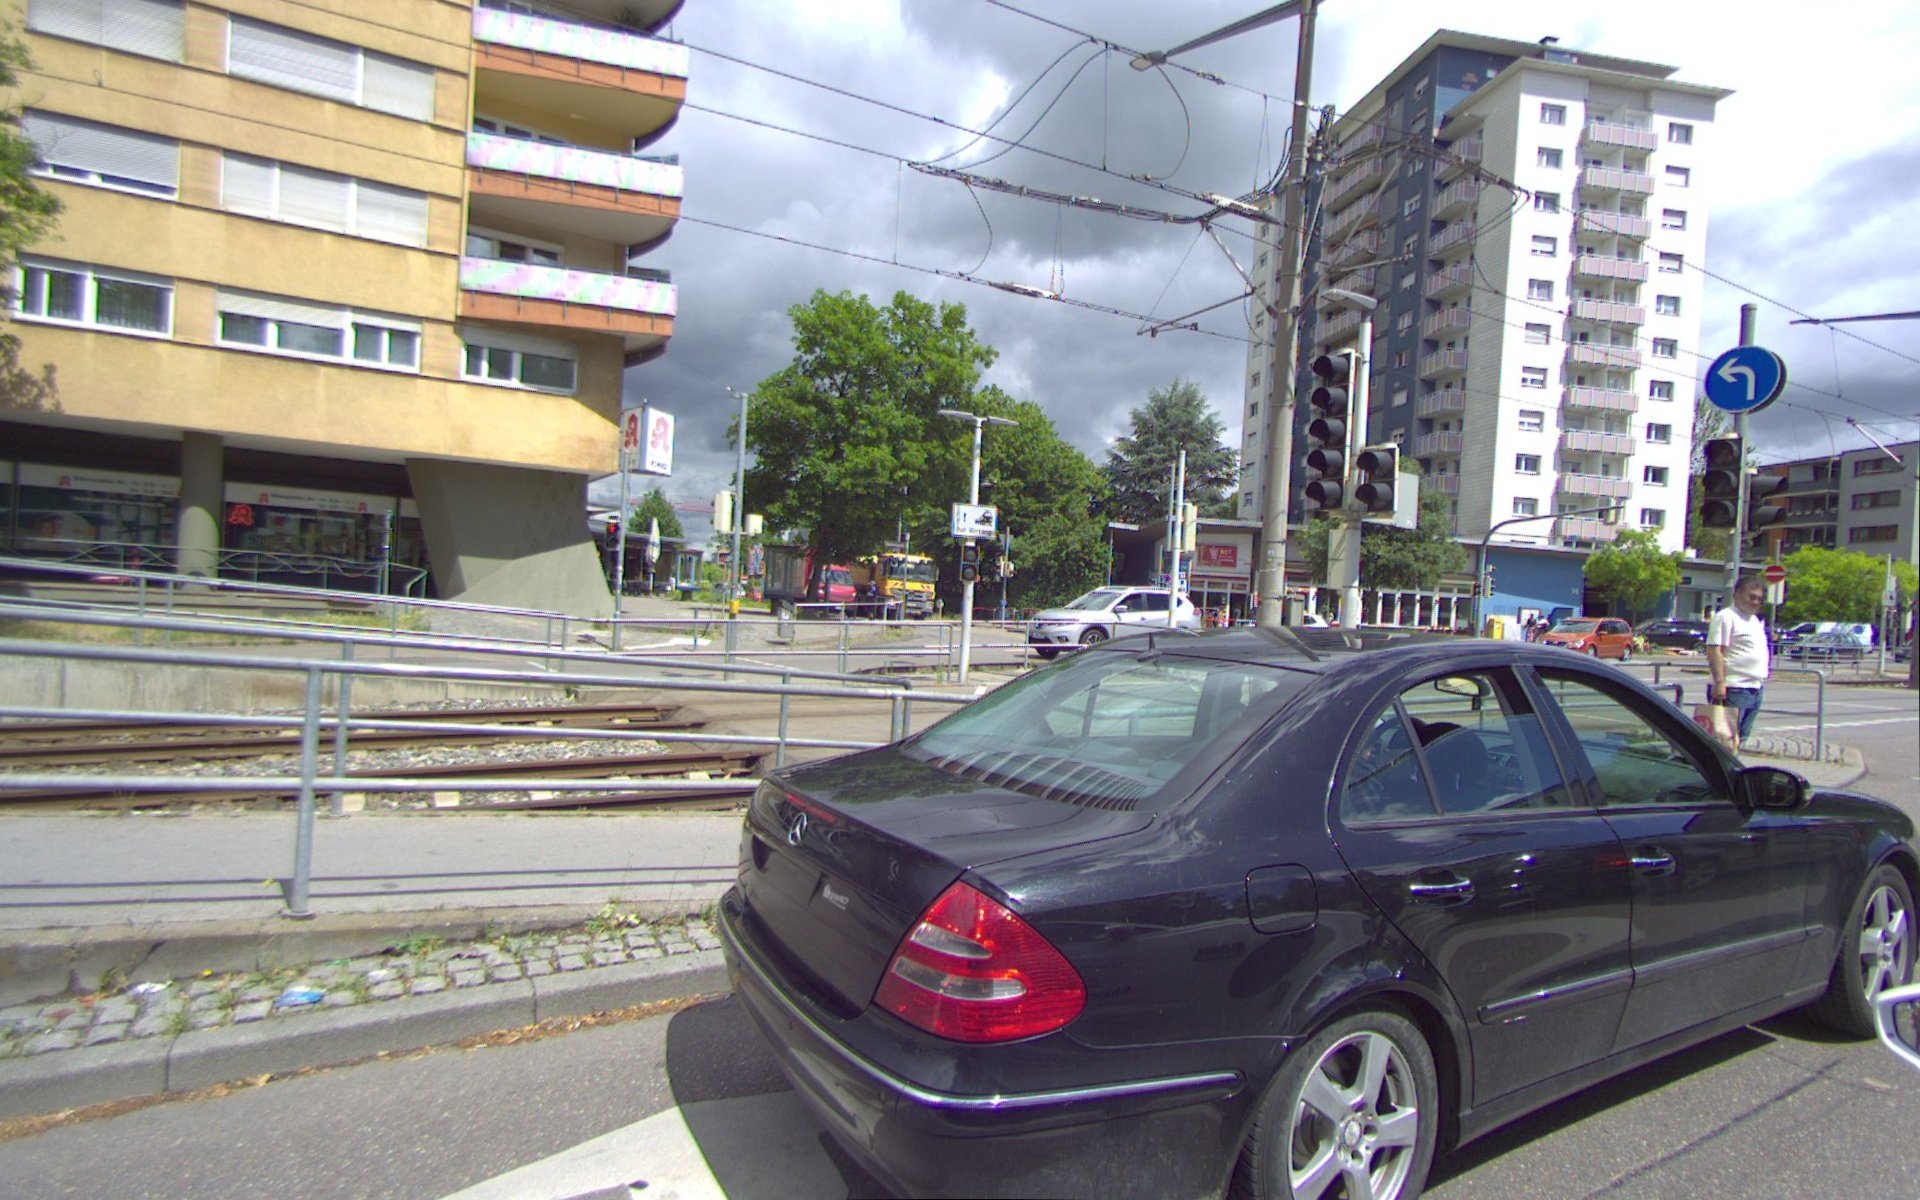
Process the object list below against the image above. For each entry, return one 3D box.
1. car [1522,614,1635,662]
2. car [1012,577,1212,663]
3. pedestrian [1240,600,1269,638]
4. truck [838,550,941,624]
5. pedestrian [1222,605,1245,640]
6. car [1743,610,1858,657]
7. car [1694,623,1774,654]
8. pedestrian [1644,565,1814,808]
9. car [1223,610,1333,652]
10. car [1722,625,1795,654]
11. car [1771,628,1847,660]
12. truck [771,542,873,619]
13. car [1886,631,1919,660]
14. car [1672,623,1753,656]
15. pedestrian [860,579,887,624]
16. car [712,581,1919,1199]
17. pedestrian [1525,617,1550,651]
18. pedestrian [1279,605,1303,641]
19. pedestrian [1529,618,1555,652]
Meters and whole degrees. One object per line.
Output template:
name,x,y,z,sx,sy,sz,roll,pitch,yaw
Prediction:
car,22.980,1.396,37.292,4.415,1.656,1.981,1,-1,-35
car,3.599,0.485,23.519,4.462,1.825,1.982,2,-1,-33
pedestrian,15.477,1.008,52.788,1.200,1.942,0.860,1,1,-30
truck,-3.596,-0.616,49.208,2.733,3.244,7.443,1,0,-23
pedestrian,12.931,1.071,47.478,0.689,1.637,0.765,1,0,-24
car,49.797,1.892,59.767,2.776,2.512,6.724,2,0,17
car,42.822,2.099,55.681,1.921,1.558,4.220,2,0,13
pedestrian,6.209,0.651,8.128,0.734,1.832,0.863,1,1,-33
car,12.204,1.167,38.727,3.920,1.416,1.699,2,0,16
car,45.493,2.241,57.338,1.754,1.439,4.219,2,0,16
car,41.082,2.109,48.600,4.206,1.433,1.620,1,0,-32
truck,-6.868,-0.888,48.752,2.692,3.320,8.877,1,0,-22
car,51.703,2.482,54.035,4.445,1.418,1.625,2,0,-33
car,40.161,2.077,53.723,1.921,1.591,4.220,2,0,13
pedestrian,-3.326,0.048,38.617,0.770,1.638,0.759,-1,5,-29
car,1.599,0.751,3.525,4.490,1.481,1.720,2,0,-30
pedestrian,29.839,1.752,51.942,0.929,1.681,1.099,2,-1,21
pedestrian,15.432,1.079,46.807,0.693,1.637,0.760,1,1,-43
pedestrian,29.423,1.775,50.812,0.929,1.681,1.099,2,-1,21
